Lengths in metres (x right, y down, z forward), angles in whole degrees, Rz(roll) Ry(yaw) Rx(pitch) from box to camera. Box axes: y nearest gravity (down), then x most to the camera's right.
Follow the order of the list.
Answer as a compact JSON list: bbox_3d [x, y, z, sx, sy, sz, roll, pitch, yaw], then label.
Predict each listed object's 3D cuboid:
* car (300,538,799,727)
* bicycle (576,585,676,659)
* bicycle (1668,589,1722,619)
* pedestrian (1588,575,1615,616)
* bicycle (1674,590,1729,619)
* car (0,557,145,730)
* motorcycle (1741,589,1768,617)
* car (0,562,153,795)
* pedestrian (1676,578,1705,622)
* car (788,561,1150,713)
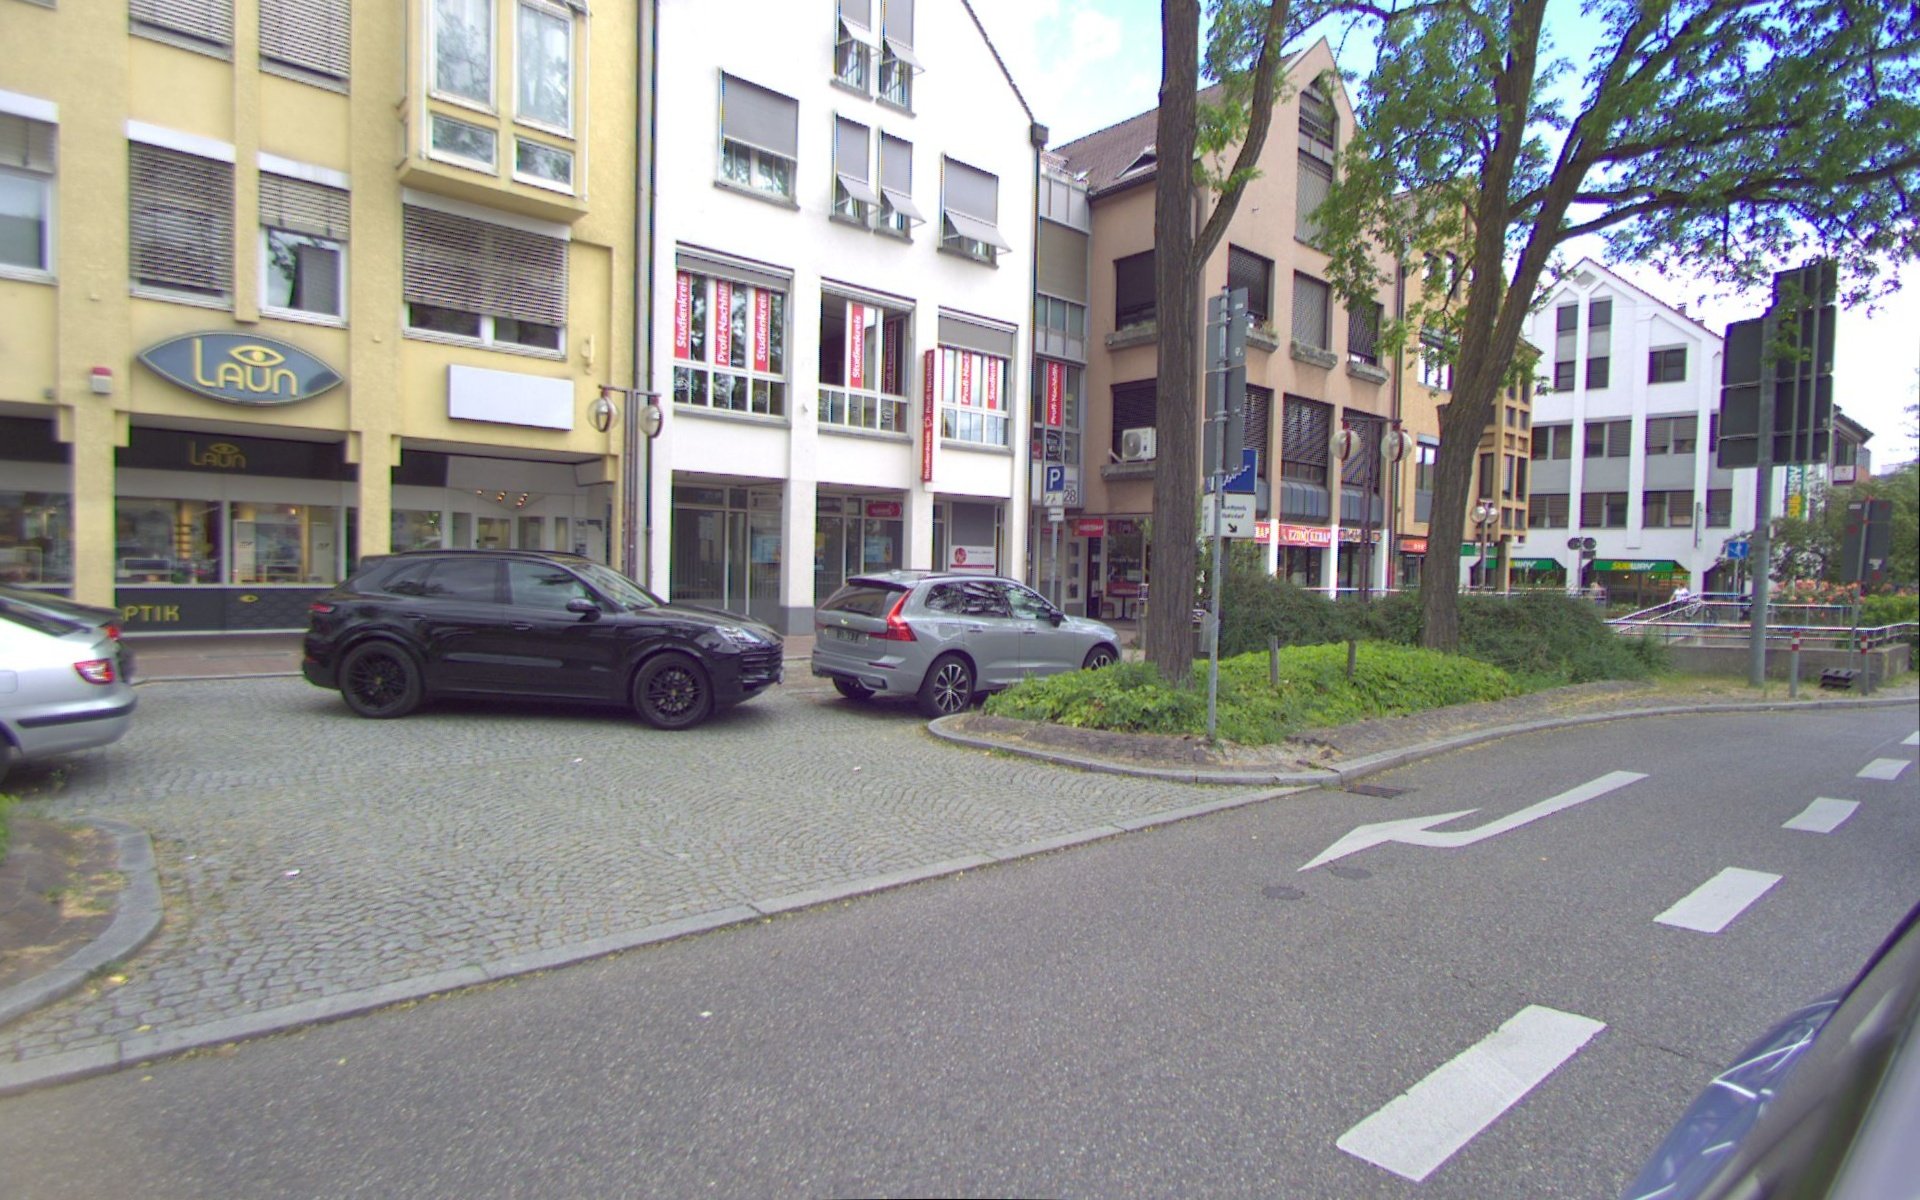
[{"bbox_3d":[-4.153,0.283,10.816,4.573,1.690,1.860,2,2,-2],"label":"car"},{"bbox_3d":[-4.979,0.311,15.137,1.355,1.057,0.393,0,2,-41],"label":"bicycle"},{"bbox_3d":[26.990,0.131,37.184,1.584,1.014,0.409,2,2,37],"label":"bicycle"},{"bbox_3d":[28.409,-0.202,44.823,0.882,1.779,0.931,2,2,38],"label":"pedestrian"},{"bbox_3d":[27.535,0.155,37.603,1.584,0.981,0.455,2,2,36],"label":"bicycle"},{"bbox_3d":[-9.578,0.341,8.349,4.344,1.393,2.000,0,3,-43],"label":"car"},{"bbox_3d":[31.855,0.119,40.578,1.961,1.081,0.464,0,2,-41],"label":"motorcycle"},{"bbox_3d":[-7.765,0.487,6.180,4.344,1.468,1.765,0,2,-43],"label":"car"},{"bbox_3d":[30.683,-0.012,42.506,0.772,1.846,0.869,0,0,-44],"label":"pedestrian"},{"bbox_3d":[0.278,0.364,13.260,4.685,1.615,1.996,0,2,-44],"label":"car"}]
